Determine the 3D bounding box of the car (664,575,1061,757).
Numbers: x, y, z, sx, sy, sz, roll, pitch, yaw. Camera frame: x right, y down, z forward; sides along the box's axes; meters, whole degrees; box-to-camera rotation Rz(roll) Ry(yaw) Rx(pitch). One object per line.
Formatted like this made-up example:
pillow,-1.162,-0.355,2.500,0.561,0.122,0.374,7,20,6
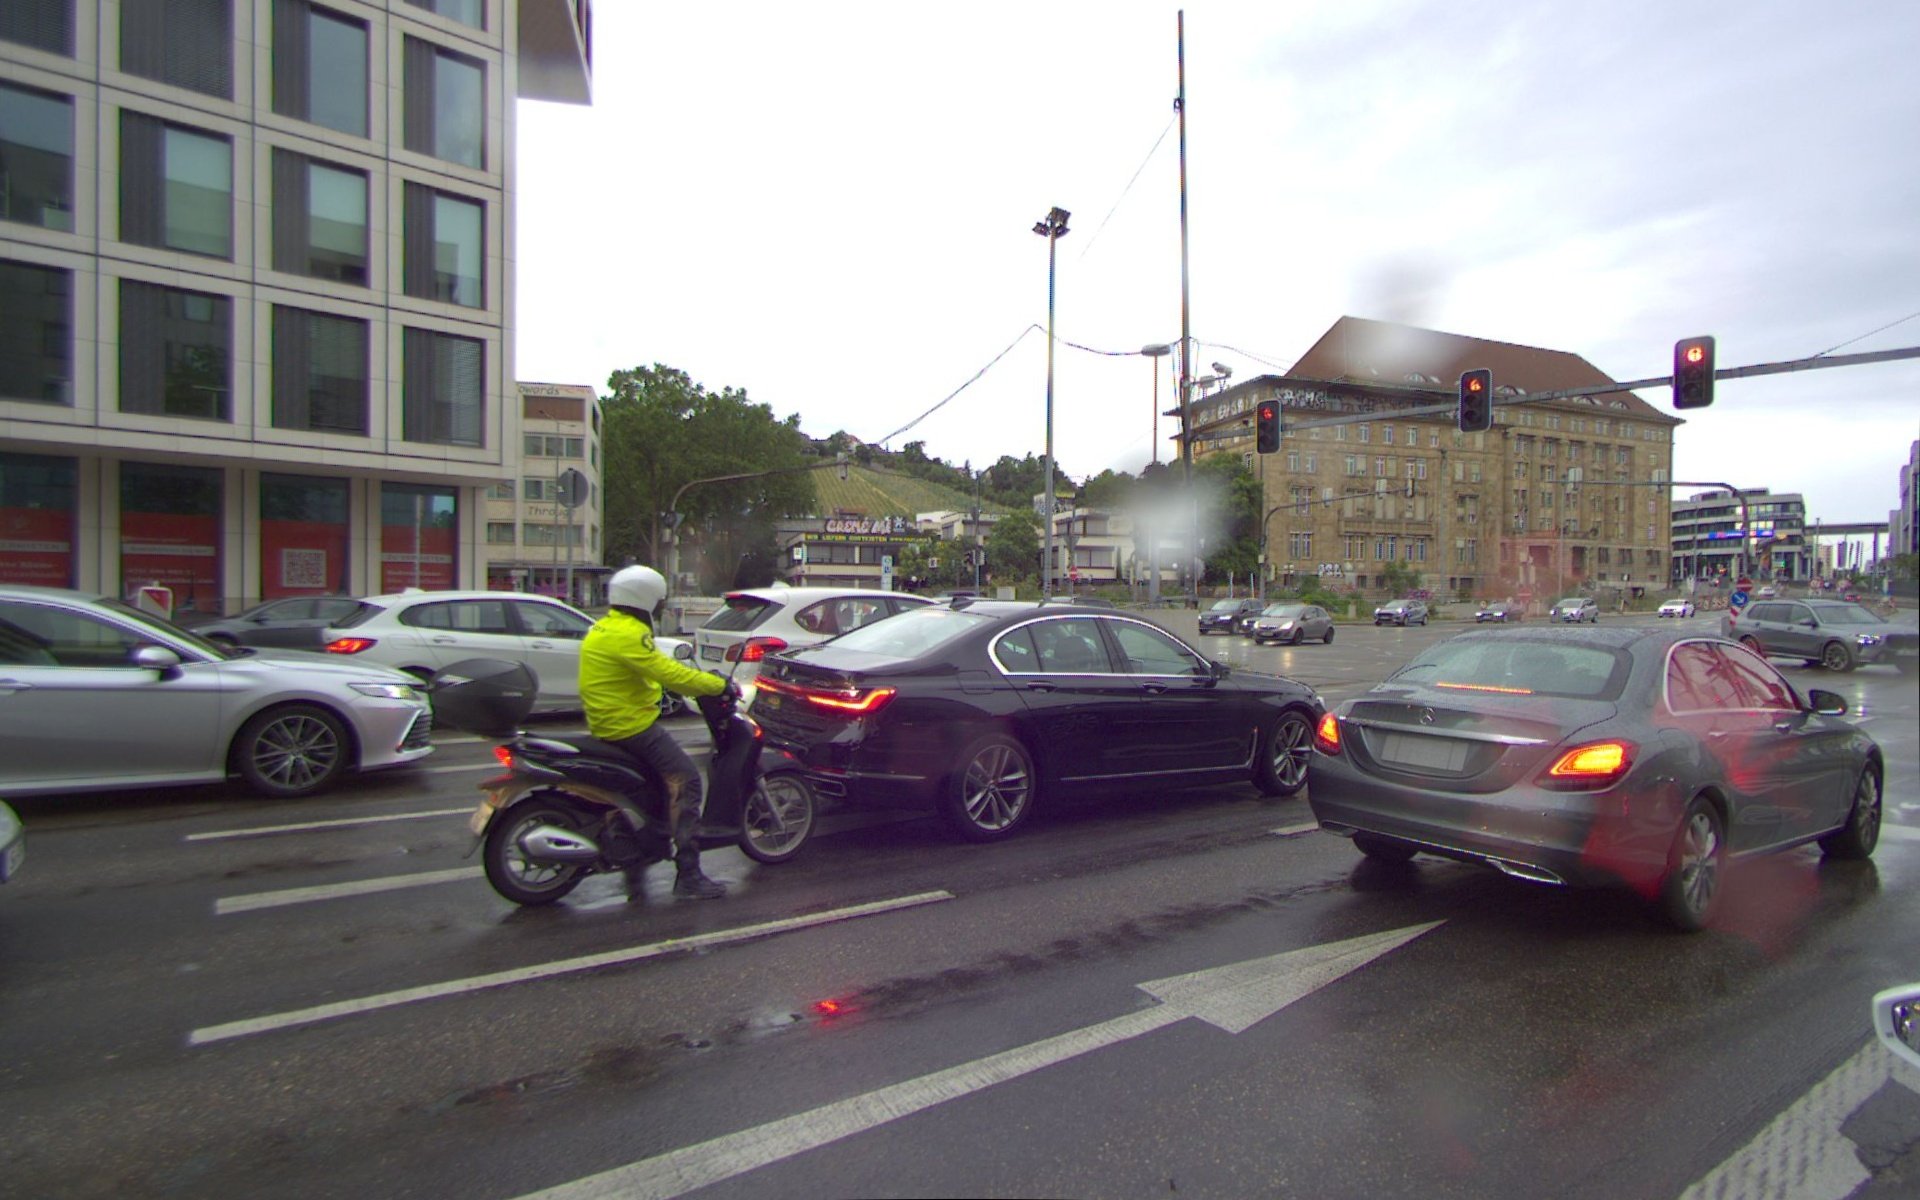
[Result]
car,-0.957,0.645,10.913,3.964,1.637,1.720,2,0,-38

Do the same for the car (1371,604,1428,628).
car,25.819,0.948,58.944,3.973,1.277,1.608,3,0,-44

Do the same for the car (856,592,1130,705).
car,0.545,0.768,16.175,4.019,1.621,1.777,2,0,-26

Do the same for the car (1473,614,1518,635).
car,36.005,1.668,67.529,3.307,1.277,1.720,3,0,-44

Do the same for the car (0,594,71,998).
car,-5.509,0.634,2.798,4.342,1.422,1.720,2,0,-36

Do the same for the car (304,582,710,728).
car,-5.122,0.587,11.577,3.957,1.391,1.770,2,0,-37

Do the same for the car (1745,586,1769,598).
car,136.232,-1.419,171.718,1.960,1.840,4.001,2,0,18

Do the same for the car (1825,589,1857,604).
car,121.862,-0.471,138.927,1.961,2.040,4.000,2,0,21

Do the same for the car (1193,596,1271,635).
car,12.609,0.718,46.449,3.973,1.667,1.608,2,0,-44

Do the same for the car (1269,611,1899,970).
car,4.043,0.817,6.215,4.443,1.421,1.771,0,1,-36

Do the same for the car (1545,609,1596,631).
car,40.816,1.334,67.146,4.163,1.277,1.751,3,0,-42

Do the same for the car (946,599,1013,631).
car,1.347,1.026,69.655,4.150,2.040,1.996,2,0,30

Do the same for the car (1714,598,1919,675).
car,23.167,0.909,27.097,1.960,1.821,5.104,2,0,3

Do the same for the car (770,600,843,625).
car,-9.116,0.747,59.652,3.920,1.339,1.654,2,0,19

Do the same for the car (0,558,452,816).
car,-6.219,0.505,6.770,4.755,1.541,1.818,2,0,-36

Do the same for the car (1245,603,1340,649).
car,12.392,0.974,37.360,3.973,1.595,1.681,3,0,-44

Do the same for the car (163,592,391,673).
car,-14.102,0.671,20.847,1.680,1.539,3.665,-1,-2,45

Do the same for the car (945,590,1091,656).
car,1.623,0.635,26.993,3.973,1.635,1.608,3,0,-44

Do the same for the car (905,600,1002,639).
car,-0.322,0.957,49.219,4.319,1.684,1.995,2,0,32

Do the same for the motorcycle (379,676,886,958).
motorcycle,-1.580,0.955,5.139,2.276,1.002,0.933,2,0,-41

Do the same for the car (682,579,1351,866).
car,0.652,0.732,7.607,4.953,1.535,1.874,2,0,-35

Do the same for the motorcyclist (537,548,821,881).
motorcyclist,-1.462,0.519,5.221,1.092,1.495,0.933,2,0,-41

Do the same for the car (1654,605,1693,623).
car,58.965,1.157,83.021,3.970,1.277,1.751,3,0,-42

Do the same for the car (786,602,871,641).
car,-6.107,0.962,46.568,3.940,1.617,1.667,2,0,41
